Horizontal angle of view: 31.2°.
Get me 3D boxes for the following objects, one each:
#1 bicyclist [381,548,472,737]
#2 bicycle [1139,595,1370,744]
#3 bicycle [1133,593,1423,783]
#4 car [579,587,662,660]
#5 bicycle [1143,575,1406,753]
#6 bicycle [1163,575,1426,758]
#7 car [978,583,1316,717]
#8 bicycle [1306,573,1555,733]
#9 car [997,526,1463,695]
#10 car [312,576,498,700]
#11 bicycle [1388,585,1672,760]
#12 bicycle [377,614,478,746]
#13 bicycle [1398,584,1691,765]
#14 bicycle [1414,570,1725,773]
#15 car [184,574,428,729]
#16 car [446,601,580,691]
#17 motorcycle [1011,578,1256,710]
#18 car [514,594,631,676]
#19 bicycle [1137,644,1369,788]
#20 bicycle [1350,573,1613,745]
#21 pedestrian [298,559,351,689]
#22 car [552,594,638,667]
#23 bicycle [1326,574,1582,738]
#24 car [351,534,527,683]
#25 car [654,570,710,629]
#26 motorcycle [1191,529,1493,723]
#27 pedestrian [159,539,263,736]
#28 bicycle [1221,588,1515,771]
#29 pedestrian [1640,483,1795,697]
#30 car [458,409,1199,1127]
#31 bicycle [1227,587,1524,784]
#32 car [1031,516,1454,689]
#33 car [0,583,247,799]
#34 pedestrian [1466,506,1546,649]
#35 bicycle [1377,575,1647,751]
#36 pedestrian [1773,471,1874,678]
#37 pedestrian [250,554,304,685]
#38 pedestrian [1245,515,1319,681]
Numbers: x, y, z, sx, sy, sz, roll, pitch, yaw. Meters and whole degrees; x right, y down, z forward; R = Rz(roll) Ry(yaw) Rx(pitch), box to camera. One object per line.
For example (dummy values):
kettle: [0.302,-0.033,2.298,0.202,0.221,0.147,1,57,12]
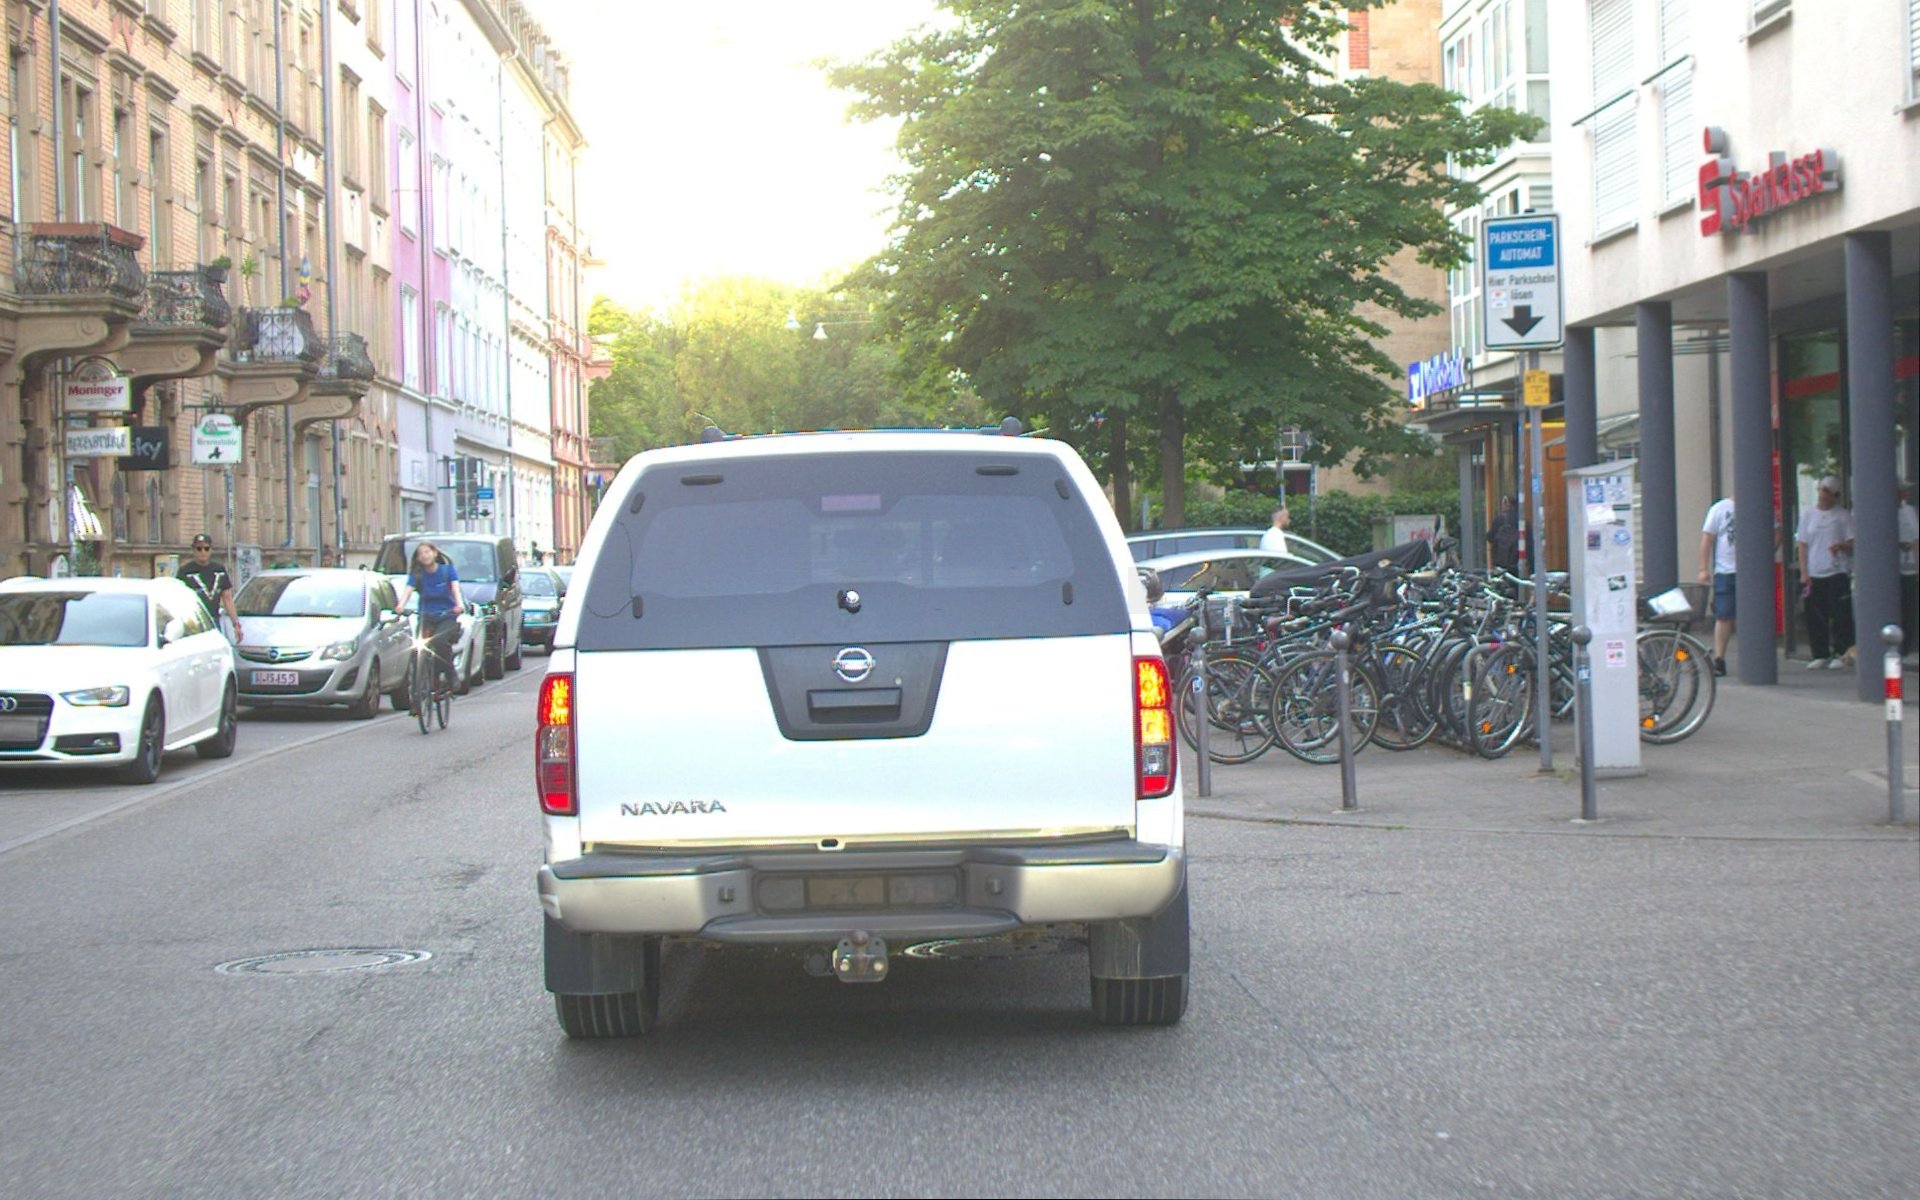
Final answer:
bicyclist: [-4.720,0.369,30.450,0.644,1.615,0.918,-3,0,-3]
bicycle: [2.334,0.549,27.418,1.719,1.028,0.667,-5,-1,2]
bicycle: [2.045,0.561,22.237,1.722,1.114,0.707,-3,0,-3]
car: [-8.045,0.542,81.729,1.844,1.653,4.253,-1,0,-4]
bicycle: [2.368,0.479,26.042,1.869,1.178,0.743,-5,-1,4]
bicycle: [2.460,0.483,25.201,1.789,1.178,0.733,-5,-1,9]
car: [2.307,0.611,43.128,3.986,1.451,1.828,-3,0,-4]
bicycle: [3.578,0.402,26.212,1.722,1.114,0.654,-3,0,-4]
car: [2.725,0.097,35.200,4.422,1.450,1.780,-3,0,-7]
car: [-6.762,0.435,42.289,1.783,1.418,4.486,1,0,-3]
bicycle: [3.744,0.472,22.683,1.722,1.050,0.653,-3,0,2]
bicycle: [-4.700,0.690,30.439,0.644,1.077,2.169,-3,0,-4]
bicycle: [3.726,0.471,22.011,1.722,1.050,0.653,-3,0,2]
bicycle: [3.717,0.430,20.985,1.722,1.128,0.579,-3,0,-13]
car: [-6.534,0.473,34.719,1.717,1.453,4.000,1,0,0]
car: [-7.341,0.750,56.822,1.736,1.414,4.779,1,0,-2]
motorcycle: [1.569,0.393,31.077,2.057,1.074,0.664,-3,0,-17]
car: [-7.380,0.648,65.794,1.834,1.453,4.207,2,0,-1]
bicycle: [2.377,0.940,28.033,1.772,1.019,0.565,-5,-1,2]
bicycle: [3.691,0.414,24.410,1.722,1.114,0.653,-3,0,2]
pedestrian: [-8.793,0.326,47.587,0.605,1.766,0.777,2,1,-5]
car: [-7.988,0.652,75.502,1.636,1.560,3.782,0,0,-3]
bicycle: [3.652,0.411,25.492,1.722,1.114,0.654,-3,0,-4]
car: [-7.149,0.107,47.578,1.993,1.917,4.952,1,0,-4]
car: [-9.554,-0.012,117.920,1.810,1.970,4.187,1,0,-6]
motorcycle: [3.338,0.230,30.211,2.492,1.544,0.824,-3,-1,2]
pedestrian: [-6.797,0.343,31.245,0.554,1.749,1.022,-1,-1,11]
bicycle: [2.722,0.526,23.047,1.809,1.114,0.707,-3,0,-3]
pedestrian: [6.294,-0.081,28.569,0.774,1.717,0.913,-5,2,-44]
car: [-0.265,0.387,11.496,1.911,1.847,5.270,0,1,2]
bicycle: [2.571,0.523,21.387,1.722,1.114,0.707,-3,0,2]
car: [3.070,0.021,37.972,4.398,1.642,1.746,-3,0,-2]
car: [-6.490,0.592,25.095,1.758,1.407,4.509,0,1,-2]
pedestrian: [6.706,-0.270,42.275,0.727,1.710,0.963,-3,0,-1]
bicycle: [3.814,0.432,23.843,1.722,1.114,0.653,-3,0,2]
pedestrian: [7.311,-0.219,29.100,0.663,1.717,0.662,-1,2,26]
pedestrian: [-9.412,0.260,47.366,0.580,1.766,0.998,2,1,-5]
pedestrian: [3.432,-0.017,36.677,0.625,1.747,0.588,0,-1,-13]
